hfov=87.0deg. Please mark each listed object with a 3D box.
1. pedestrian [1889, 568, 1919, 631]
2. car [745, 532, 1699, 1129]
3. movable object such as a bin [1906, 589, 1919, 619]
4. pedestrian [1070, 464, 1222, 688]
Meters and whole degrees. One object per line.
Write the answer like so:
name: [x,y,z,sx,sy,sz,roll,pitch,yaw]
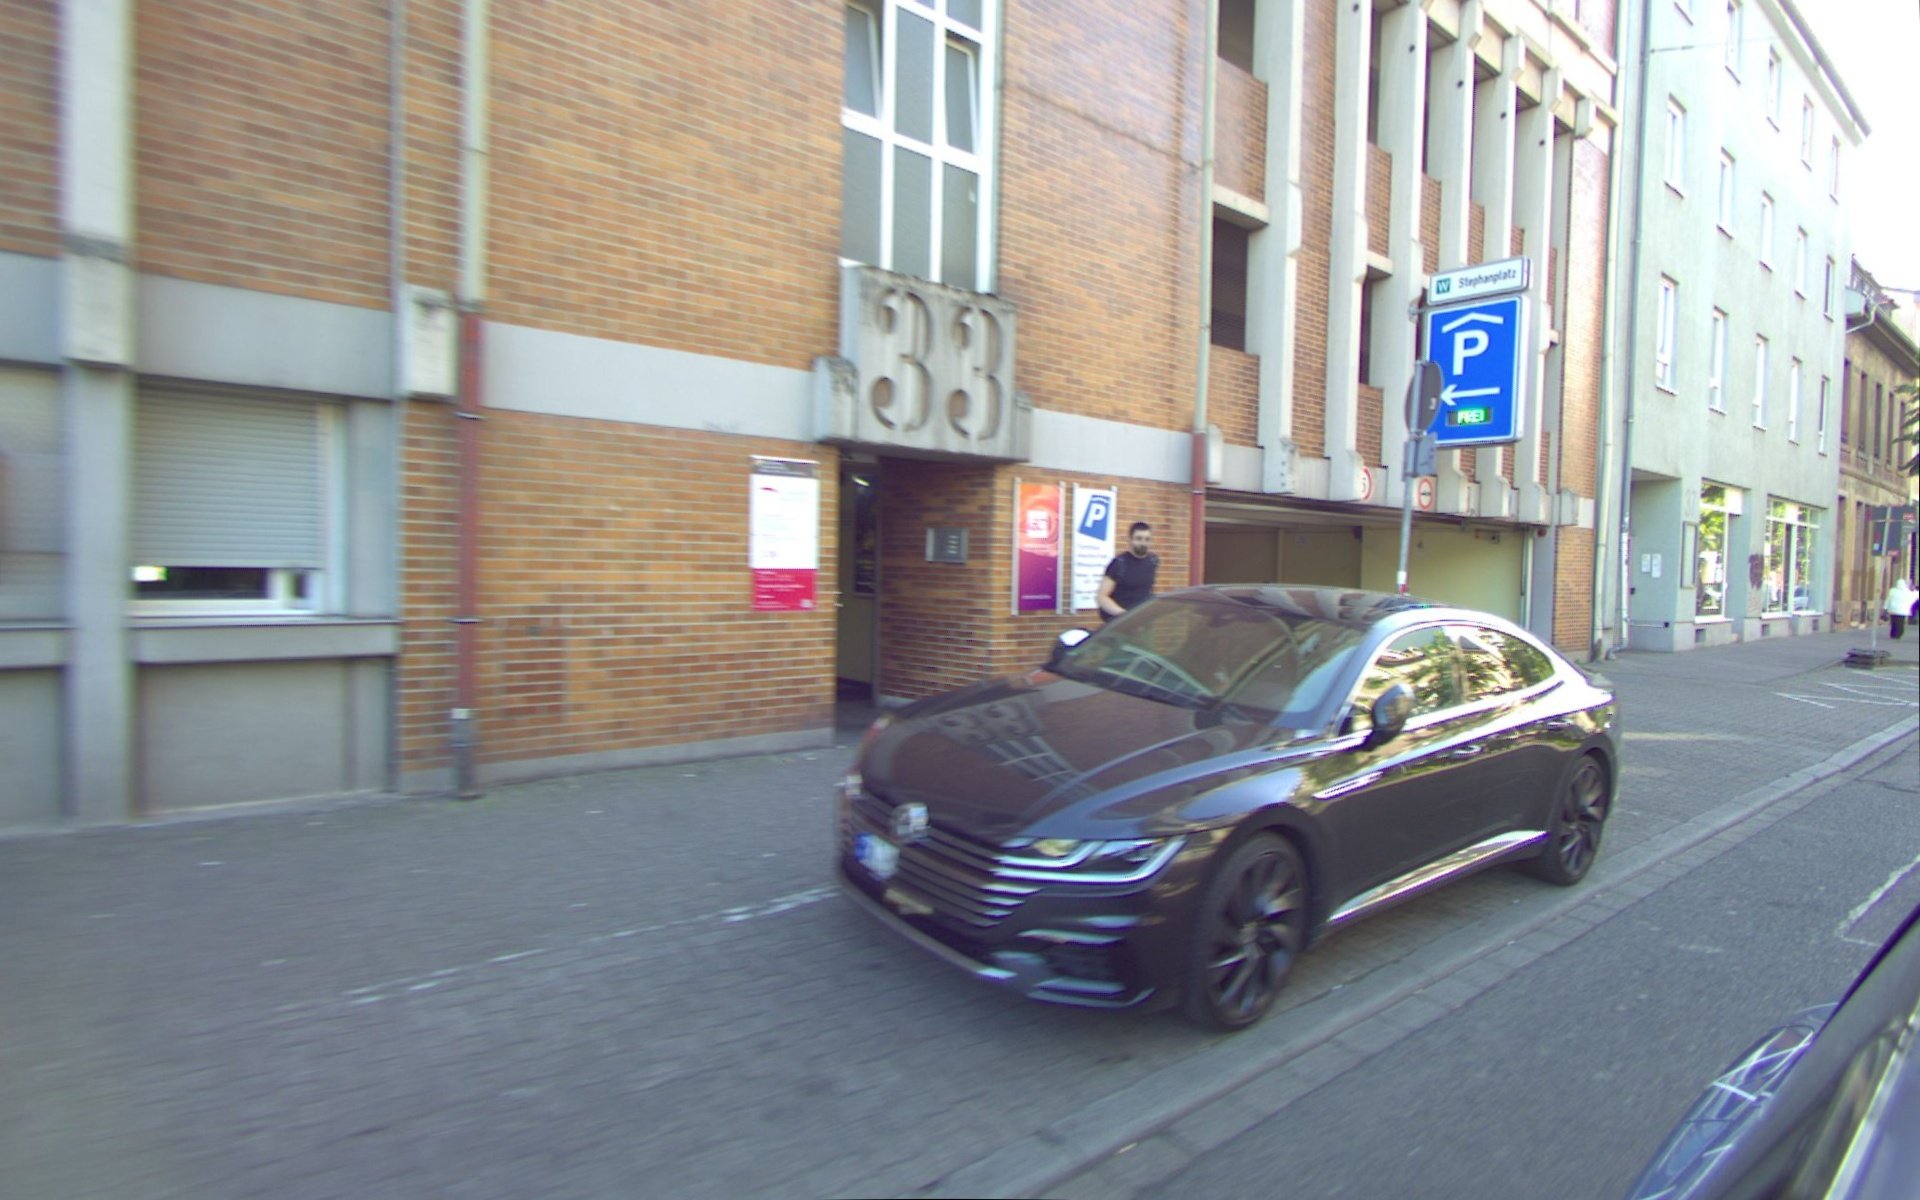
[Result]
pedestrian: [24.762,-0.014,26.359,1.003,1.578,0.582,0,5,-41]
car: [1.630,0.563,4.955,4.875,1.496,1.924,0,6,-39]
movable object such as a bin: [34.462,0.157,36.317,0.709,1.052,0.590,0,4,-38]
pedestrian: [1.464,-0.202,7.988,0.873,1.655,0.693,0,4,-40]
